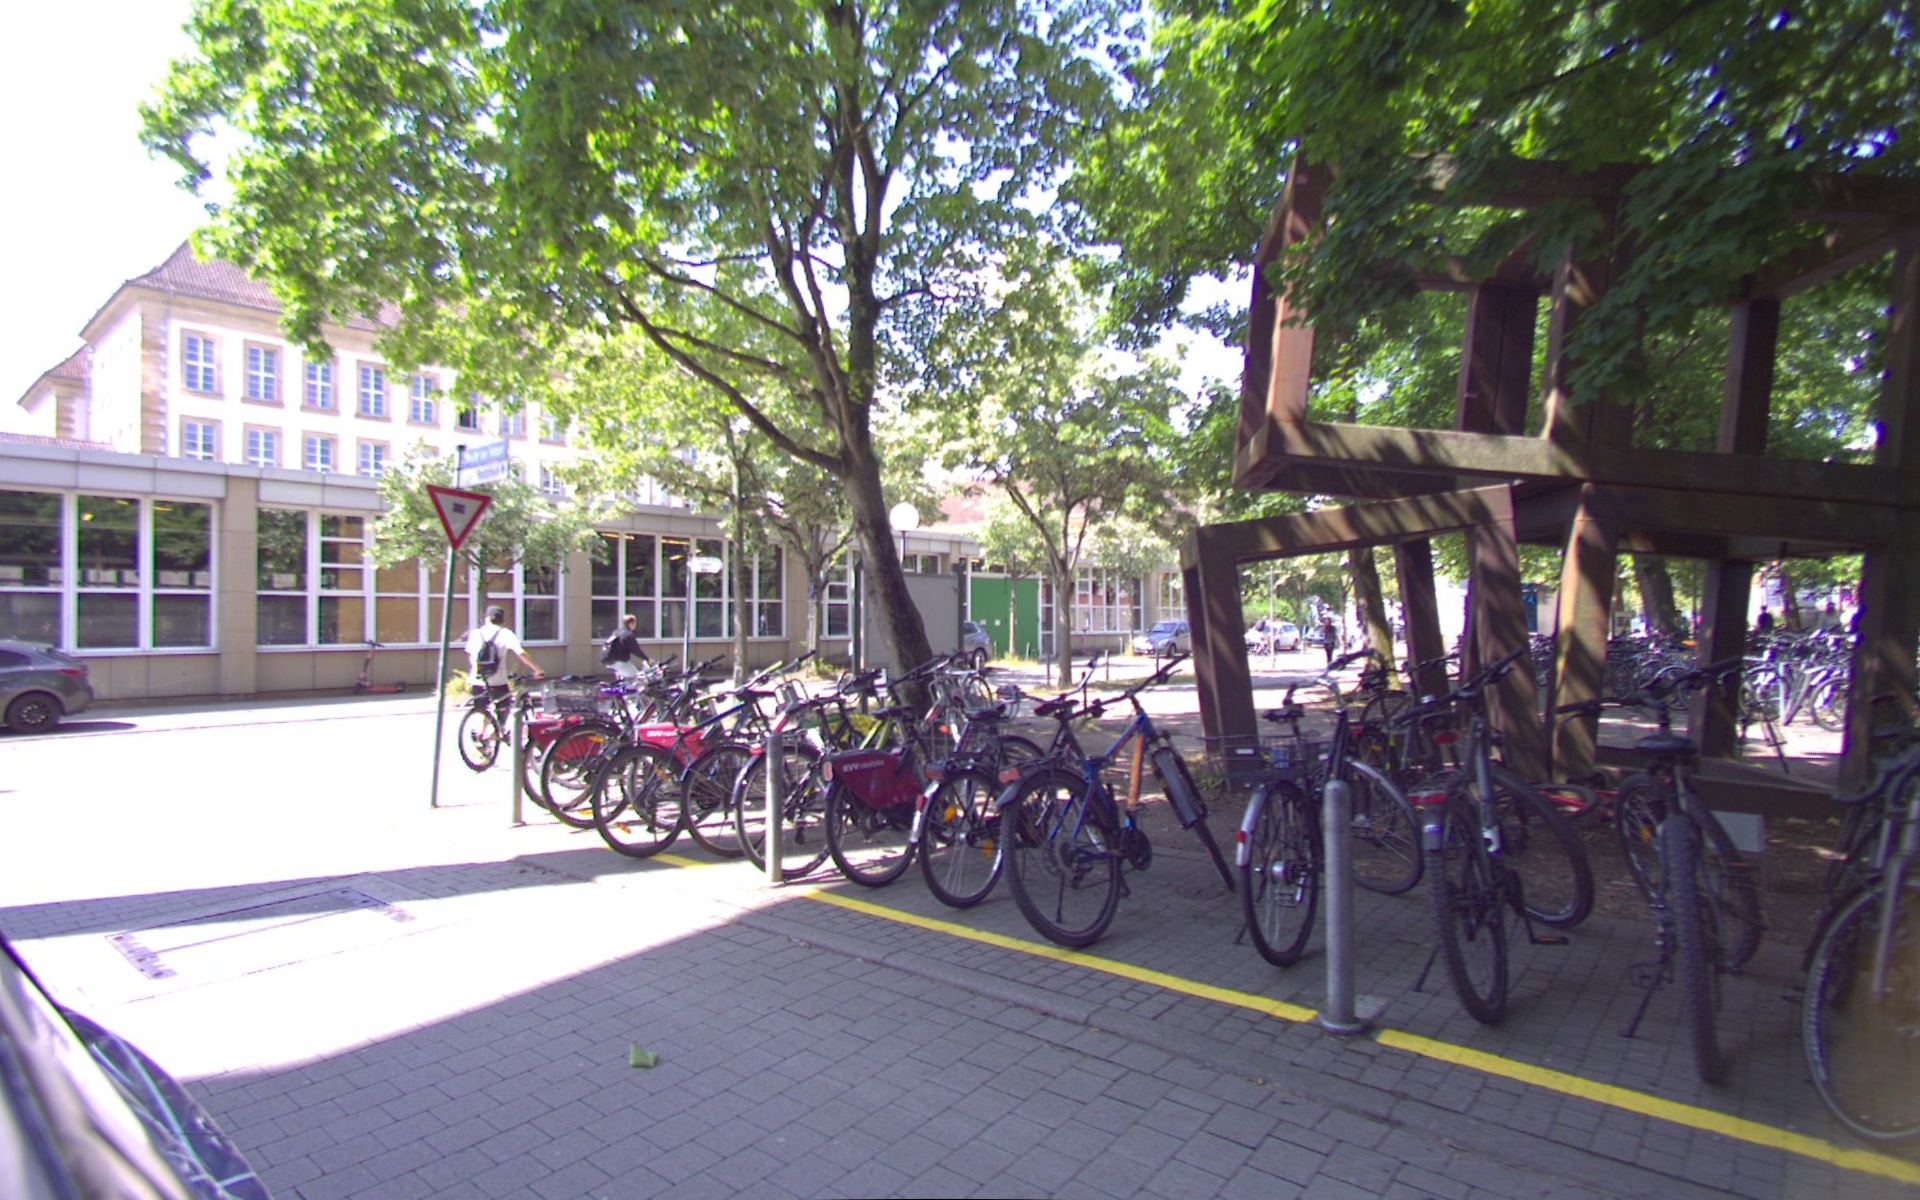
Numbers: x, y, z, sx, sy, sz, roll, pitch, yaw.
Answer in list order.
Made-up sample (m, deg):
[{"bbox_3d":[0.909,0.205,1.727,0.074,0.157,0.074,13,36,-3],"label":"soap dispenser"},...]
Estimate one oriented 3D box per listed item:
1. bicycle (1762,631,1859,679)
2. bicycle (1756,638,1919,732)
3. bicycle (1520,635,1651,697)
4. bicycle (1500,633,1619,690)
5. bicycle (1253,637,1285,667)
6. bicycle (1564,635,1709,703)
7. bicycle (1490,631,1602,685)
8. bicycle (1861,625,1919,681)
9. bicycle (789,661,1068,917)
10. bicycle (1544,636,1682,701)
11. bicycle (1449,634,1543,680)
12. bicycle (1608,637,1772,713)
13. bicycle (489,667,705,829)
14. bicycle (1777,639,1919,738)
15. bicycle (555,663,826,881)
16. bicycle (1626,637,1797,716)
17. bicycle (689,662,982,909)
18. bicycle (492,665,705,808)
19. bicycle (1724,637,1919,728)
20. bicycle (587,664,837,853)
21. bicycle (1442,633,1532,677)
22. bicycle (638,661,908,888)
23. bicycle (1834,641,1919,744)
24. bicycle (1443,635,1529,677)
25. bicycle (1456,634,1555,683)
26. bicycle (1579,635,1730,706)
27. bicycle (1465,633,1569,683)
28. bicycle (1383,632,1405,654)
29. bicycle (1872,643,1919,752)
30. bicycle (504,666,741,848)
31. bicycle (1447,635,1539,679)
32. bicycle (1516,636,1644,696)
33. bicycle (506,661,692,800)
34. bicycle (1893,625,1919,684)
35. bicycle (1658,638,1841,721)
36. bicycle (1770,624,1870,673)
[{"bbox_3d":[19.878,1.280,23.670,1.682,1.092,0.472,-1,-1,12],"label":"bicycle"},{"bbox_3d":[11.103,1.041,12.557,1.886,1.116,0.501,-1,-1,11],"label":"bicycle"},{"bbox_3d":[11.727,1.227,19.019,2.011,1.116,0.500,-1,-1,14],"label":"bicycle"},{"bbox_3d":[12.217,1.247,20.673,2.011,1.116,0.500,-1,-1,14],"label":"bicycle"},{"bbox_3d":[11.990,1.999,39.225,0.603,1.116,2.049,-3,-3,33],"label":"bicycle"},{"bbox_3d":[11.481,1.168,17.219,2.007,1.116,0.501,-1,-1,8],"label":"bicycle"},{"bbox_3d":[12.574,1.247,21.763,2.011,1.116,0.500,-1,-1,14],"label":"bicycle"},{"bbox_3d":[19.008,1.041,20.063,1.682,1.092,0.472,-1,-1,12],"label":"bicycle"},{"bbox_3d":[-0.120,0.941,5.539,1.606,1.116,0.506,0,-1,-45],"label":"bicycle"},{"bbox_3d":[11.581,1.219,17.984,2.007,1.116,0.501,-1,-1,8],"label":"bicycle"},{"bbox_3d":[13.522,1.441,25.560,2.011,1.116,0.500,-1,-1,14],"label":"bicycle"},{"bbox_3d":[11.197,1.142,15.568,1.984,1.116,0.501,-1,-1,11],"label":"bicycle"},{"bbox_3d":[-2.899,1.137,8.207,0.496,1.116,1.608,-4,-3,40],"label":"bicycle"},{"bbox_3d":[10.887,1.038,11.948,1.886,1.116,0.501,-1,-1,11],"label":"bicycle"},{"bbox_3d":[-1.645,1.003,6.372,1.606,1.116,0.497,0,-1,-45],"label":"bicycle"},{"bbox_3d":[11.083,1.129,14.984,1.984,1.116,0.501,-1,-1,11],"label":"bicycle"},{"bbox_3d":[-0.661,0.963,5.781,0.630,1.116,1.606,-1,-1,45],"label":"bicycle"},{"bbox_3d":[-3.196,1.176,9.030,1.716,1.116,0.592,-1,-3,-20],"label":"bicycle"},{"bbox_3d":[11.154,1.056,13.096,1.984,1.116,0.501,-1,-1,11],"label":"bicycle"},{"bbox_3d":[-1.695,1.037,7.047,1.603,1.116,0.498,0,-3,-38],"label":"bicycle"},{"bbox_3d":[13.866,1.457,26.687,2.011,1.116,0.500,-1,-1,14],"label":"bicycle"},{"bbox_3d":[-1.087,0.978,6.150,1.606,1.116,0.497,0,-1,-45],"label":"bicycle"},{"bbox_3d":[11.074,1.024,11.361,1.886,1.116,0.501,-1,-1,11],"label":"bicycle"},{"bbox_3d":[14.426,1.520,27.806,2.016,1.116,0.499,-1,-1,22],"label":"bicycle"},{"bbox_3d":[13.078,1.400,24.299,2.011,1.116,0.500,-1,-1,14],"label":"bicycle"},{"bbox_3d":[11.404,1.158,16.654,2.007,1.116,0.501,-1,-1,8],"label":"bicycle"},{"bbox_3d":[12.751,1.325,23.213,2.011,1.116,0.500,-1,-1,14],"label":"bicycle"},{"bbox_3d":[22.731,2.241,52.999,0.668,1.116,2.048,-3,-3,35],"label":"bicycle"},{"bbox_3d":[10.904,1.021,10.701,1.884,1.116,0.501,-1,-1,8],"label":"bicycle"},{"bbox_3d":[-2.418,1.079,7.394,0.496,1.116,1.608,-4,-3,40],"label":"bicycle"},{"bbox_3d":[13.761,1.476,26.172,2.011,1.116,0.500,-1,-1,14],"label":"bicycle"},{"bbox_3d":[11.930,1.267,19.521,2.011,1.116,0.500,-1,-1,14],"label":"bicycle"},{"bbox_3d":[-3.425,1.205,9.651,1.601,1.168,0.641,-1,-3,-21],"label":"bicycle"},{"bbox_3d":[18.777,1.016,19.096,1.682,1.092,0.472,-1,-1,12],"label":"bicycle"},{"bbox_3d":[11.057,1.109,14.221,1.984,1.116,0.501,-1,-1,11],"label":"bicycle"},{"bbox_3d":[19.687,1.118,23.193,1.682,1.092,0.472,-1,-1,12],"label":"bicycle"}]
